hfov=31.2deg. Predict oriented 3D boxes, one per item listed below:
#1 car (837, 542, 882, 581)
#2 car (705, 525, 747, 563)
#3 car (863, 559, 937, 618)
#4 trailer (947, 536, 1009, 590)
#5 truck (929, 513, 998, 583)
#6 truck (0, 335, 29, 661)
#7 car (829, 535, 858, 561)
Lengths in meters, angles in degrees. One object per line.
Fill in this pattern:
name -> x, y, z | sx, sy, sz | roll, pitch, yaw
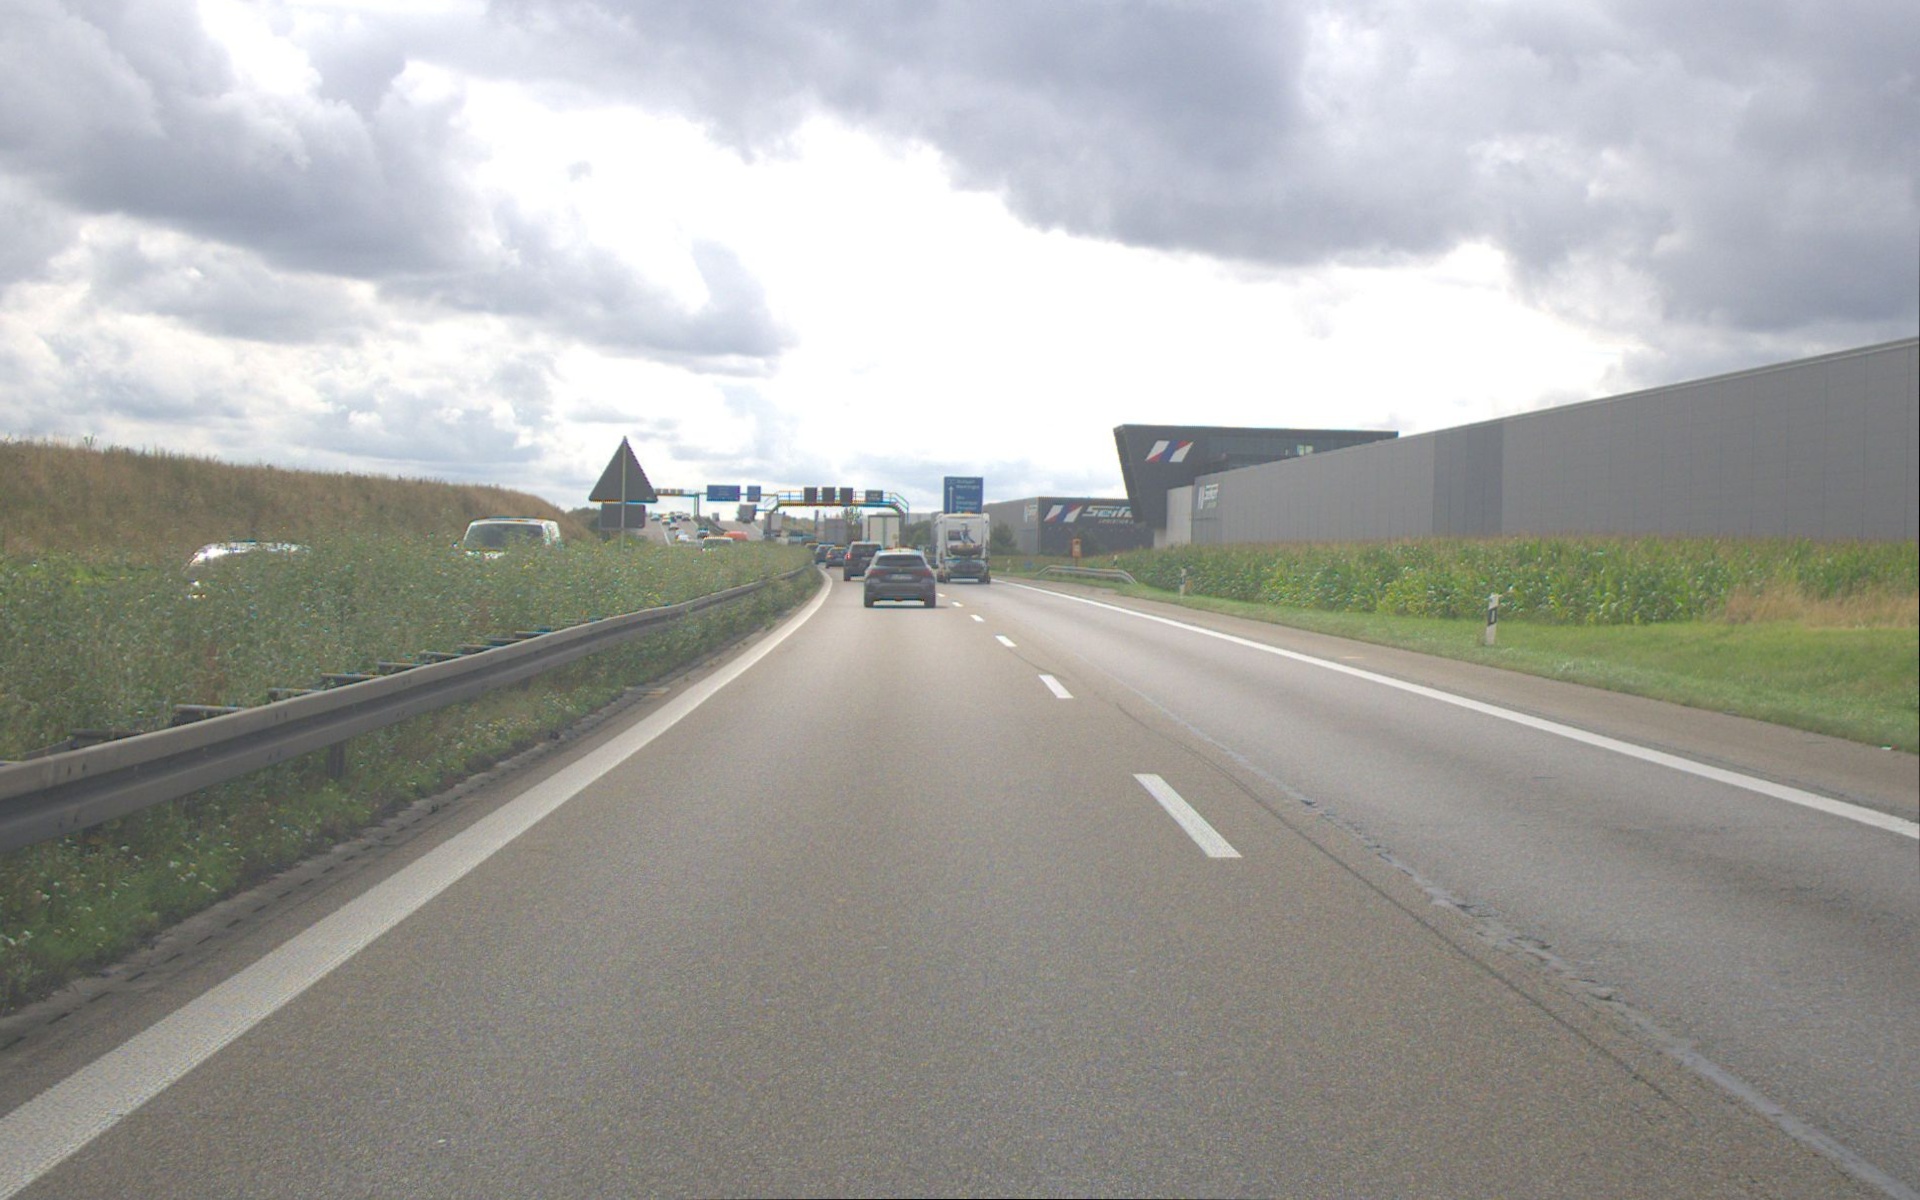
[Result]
car -> -4.485, -1.708, 153.154 | 1.945, 1.679, 4.000 | 1, 1, -2
car -> -12.710, -3.056, 187.199 | 1.993, 2.007, 5.532 | 1, 1, -1
car -> -1.542, -0.308, 87.199 | 1.746, 1.448, 4.000 | 1, 1, -2
trailer -> 0.736, -1.534, 142.122 | 2.338, 2.129, 4.000 | 1, 1, -2
truck -> 0.111, -2.232, 148.941 | 2.481, 2.940, 5.816 | 1, 1, -5
truck -> -12.819, -1.103, 33.944 | 2.723, 3.922, 17.403 | 0, 1, -1
car -> -8.162, -3.666, 241.128 | 1.943, 1.769, 3.696 | 1, 1, -1
